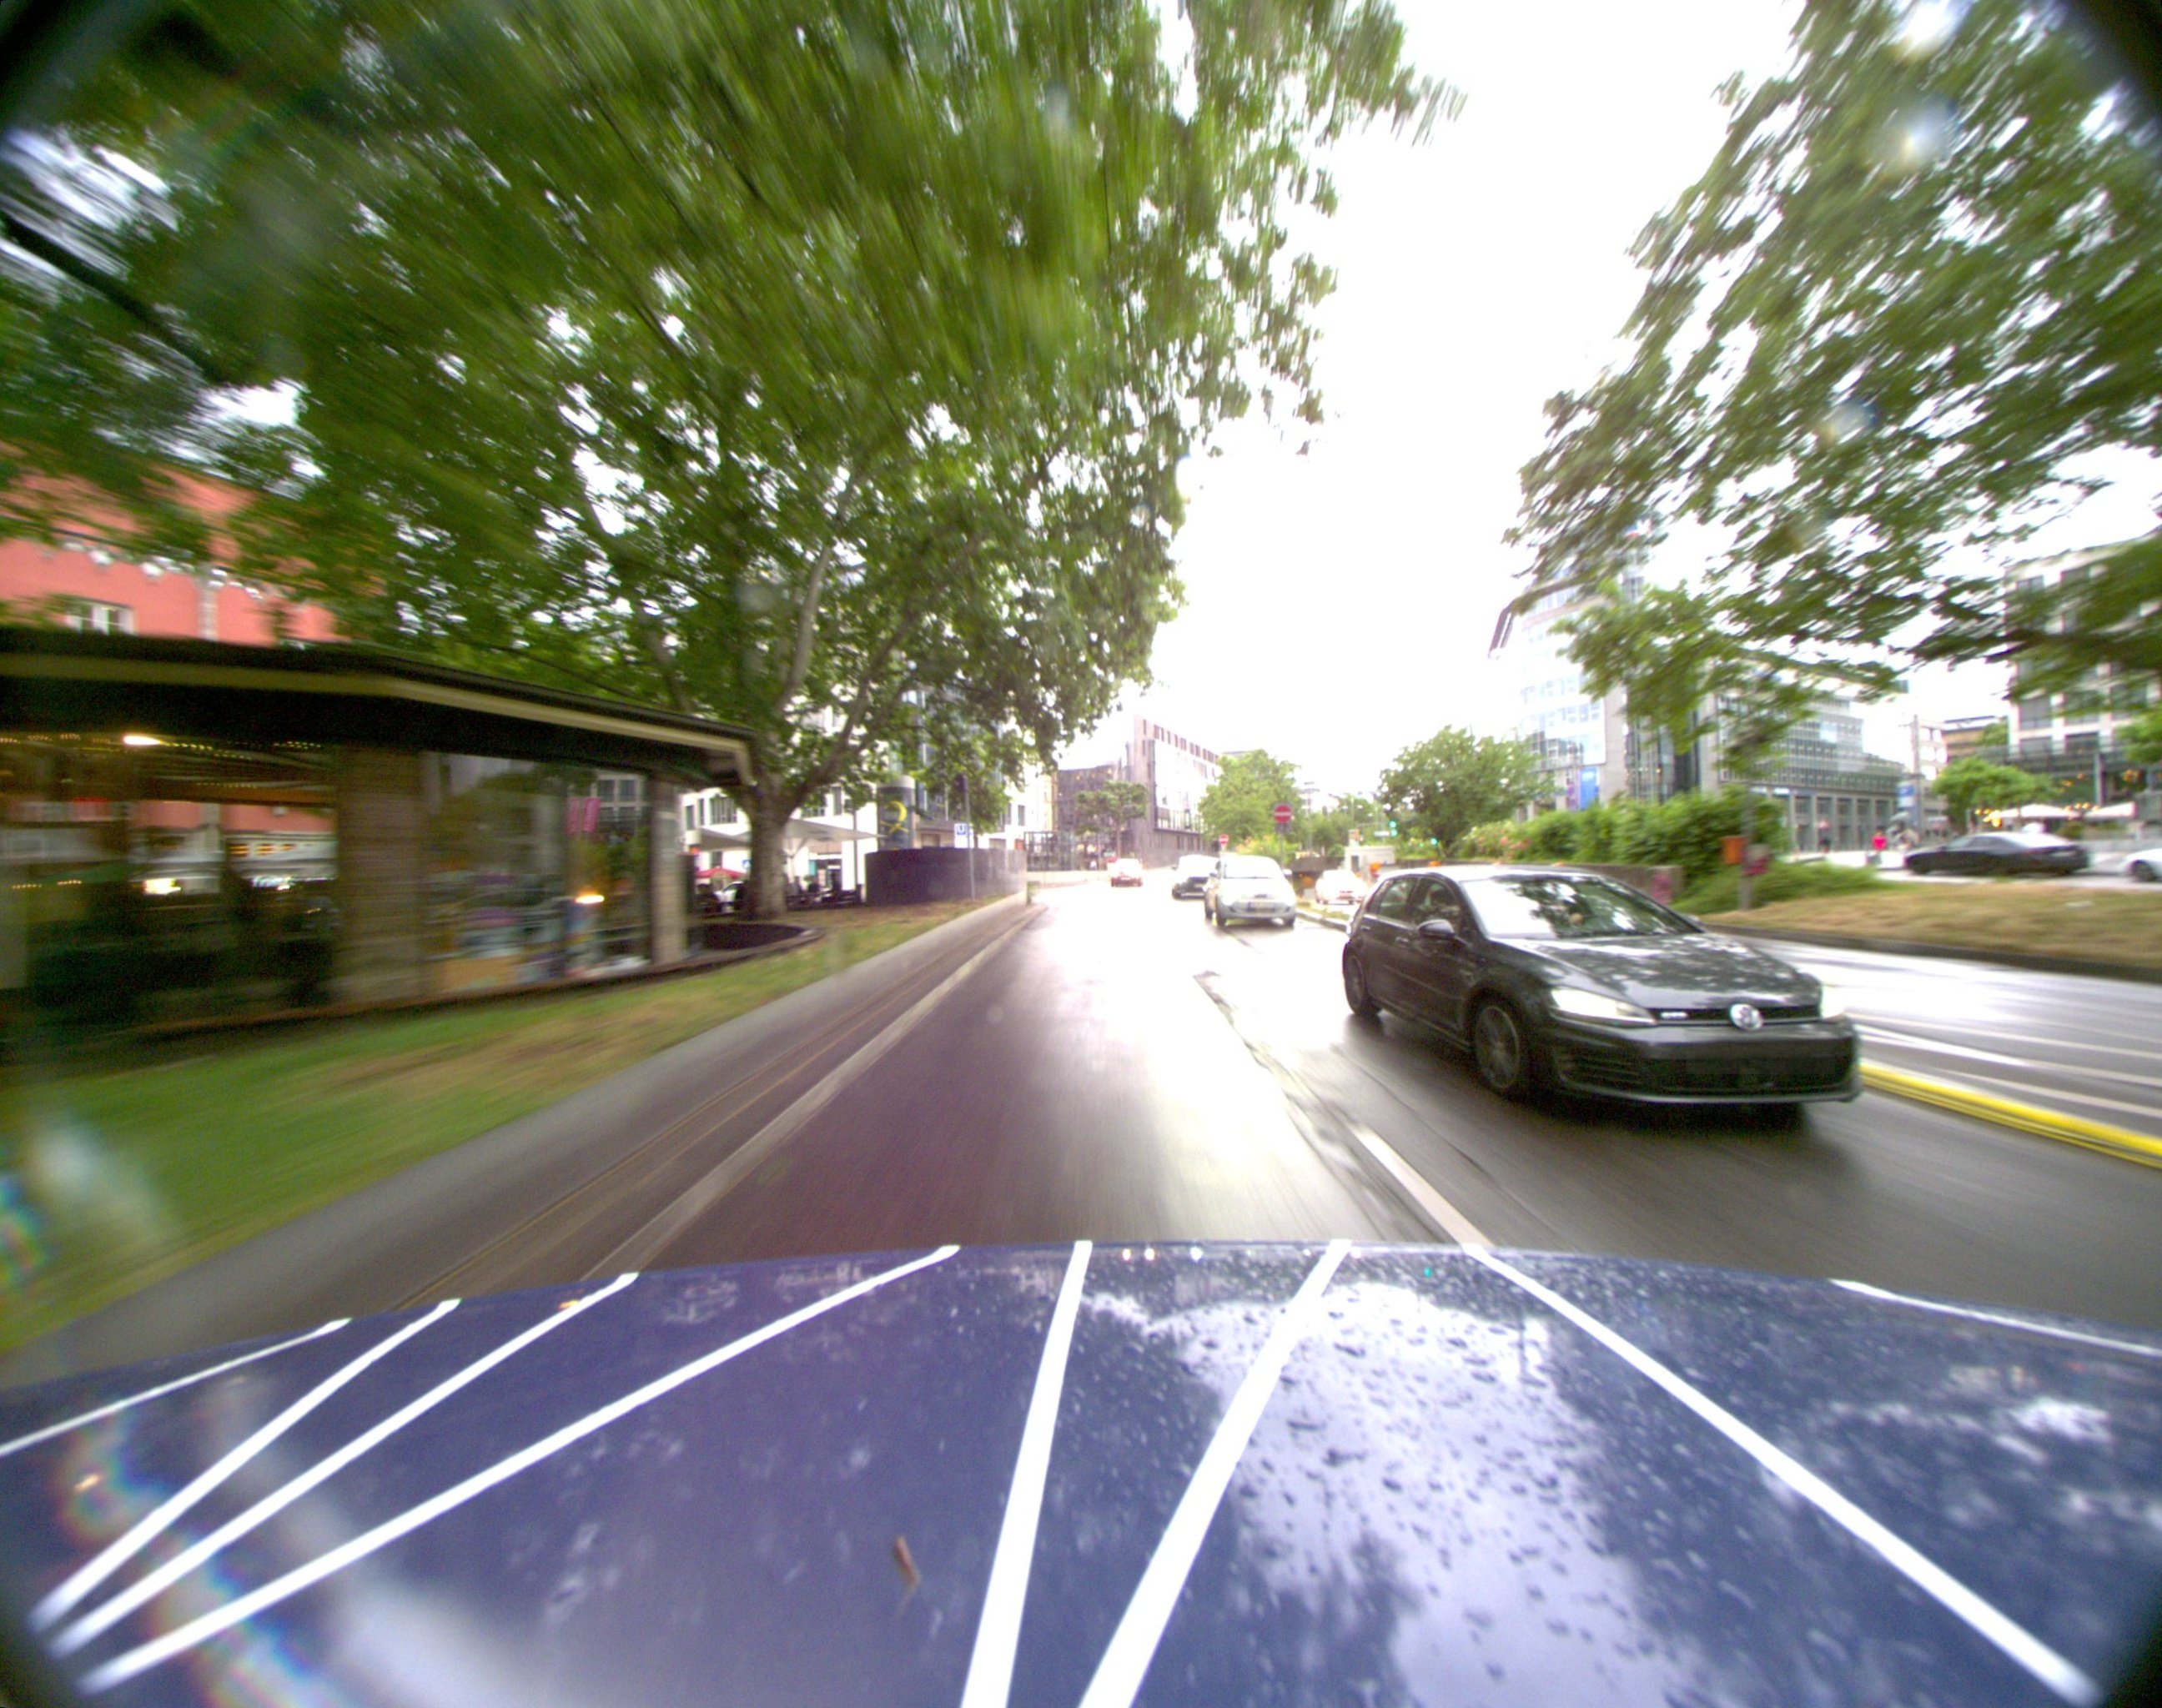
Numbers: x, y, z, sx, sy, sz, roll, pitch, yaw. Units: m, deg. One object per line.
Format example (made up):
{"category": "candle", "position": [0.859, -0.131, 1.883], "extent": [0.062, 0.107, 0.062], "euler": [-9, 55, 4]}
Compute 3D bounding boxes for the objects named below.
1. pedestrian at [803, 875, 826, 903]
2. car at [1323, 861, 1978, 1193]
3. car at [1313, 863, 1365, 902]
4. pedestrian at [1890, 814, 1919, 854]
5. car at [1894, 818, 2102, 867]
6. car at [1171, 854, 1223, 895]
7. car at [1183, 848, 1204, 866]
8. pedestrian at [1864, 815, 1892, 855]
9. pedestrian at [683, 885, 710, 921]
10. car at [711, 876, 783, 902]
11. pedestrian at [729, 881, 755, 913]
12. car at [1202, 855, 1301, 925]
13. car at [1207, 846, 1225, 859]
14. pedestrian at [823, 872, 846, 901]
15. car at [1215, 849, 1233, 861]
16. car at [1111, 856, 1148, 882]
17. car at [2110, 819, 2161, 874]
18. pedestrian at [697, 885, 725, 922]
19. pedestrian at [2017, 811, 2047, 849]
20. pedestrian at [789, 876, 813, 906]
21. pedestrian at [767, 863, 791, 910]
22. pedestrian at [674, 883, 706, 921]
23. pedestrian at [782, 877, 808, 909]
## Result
{"category": "pedestrian", "position": [-8.444, 1.100, 24.072], "extent": [0.575, 0.867, 0.508], "euler": [-2, 1, -29]}
{"category": "car", "position": [3.324, 0.838, 5.624], "extent": [1.789, 1.444, 4.123], "euler": [-3, 0, 2]}
{"category": "car", "position": [12.186, 1.299, 36.079], "extent": [1.780, 1.587, 4.003], "euler": [-2, 1, 11]}
{"category": "pedestrian", "position": [37.823, -0.917, 34.901], "extent": [0.748, 1.779, 0.473], "euler": [-3, 1, 32]}
{"category": "car", "position": [31.982, -0.398, 26.770], "extent": [2.010, 1.525, 4.713], "euler": [-2, 1, 8]}
{"category": "car", "position": [4.333, 0.727, 28.795], "extent": [1.716, 1.433, 3.495], "euler": [-1, 0, 5]}
{"category": "car", "position": [11.656, 0.298, 78.510], "extent": [1.997, 1.733, 3.912], "euler": [-2, 0, 9]}
{"category": "pedestrian", "position": [37.150, -0.880, 35.421], "extent": [0.748, 1.779, 0.424], "euler": [-3, 1, 32]}
{"category": "pedestrian", "position": [-9.838, 1.245, 19.437], "extent": [0.575, 0.867, 0.508], "euler": [-2, 1, -29]}
{"category": "car", "position": [-19.433, 2.017, 44.192], "extent": [3.878, 1.433, 1.655], "euler": [-1, 0, 25]}
{"category": "pedestrian", "position": [-9.604, 1.215, 21.519], "extent": [0.575, 0.867, 0.565], "euler": [-2, 1, -29]}
{"category": "car", "position": [3.822, 0.756, 17.557], "extent": [1.611, 1.433, 3.494], "euler": [-1, 0, 2]}
{"category": "car", "position": [19.656, -0.220, 110.287], "extent": [1.996, 1.733, 3.914], "euler": [-2, 0, 18]}
{"category": "pedestrian", "position": [-7.624, 1.000, 23.485], "extent": [0.575, 0.867, 0.508], "euler": [-2, 1, -29]}
{"category": "car", "position": [22.494, 0.179, 119.454], "extent": [1.995, 1.733, 3.915], "euler": [-2, 0, 22]}
{"category": "car", "position": [2.655, 0.791, 41.064], "extent": [1.715, 1.274, 3.496], "euler": [-2, 0, 8]}
{"category": "car", "position": [31.127, -0.225, 20.126], "extent": [2.010, 1.525, 4.438], "euler": [-2, 1, 8]}
{"category": "pedestrian", "position": [-9.279, 1.239, 19.031], "extent": [0.575, 0.867, 0.508], "euler": [-2, 1, -29]}
{"category": "pedestrian", "position": [41.338, -1.042, 33.026], "extent": [0.578, 1.618, 0.563], "euler": [-2, 1, 8]}
{"category": "pedestrian", "position": [-8.509, 1.114, 23.079], "extent": [0.575, 0.867, 0.508], "euler": [-2, 1, -29]}
{"category": "pedestrian", "position": [-8.352, 0.892, 21.025], "extent": [0.531, 1.269, 0.403], "euler": [-3, 1, -28]}
{"category": "pedestrian", "position": [-9.440, 1.150, 18.328], "extent": [0.627, 0.867, 0.508], "euler": [-2, 1, -30]}
{"category": "pedestrian", "position": [-8.352, 1.121, 22.159], "extent": [0.575, 0.867, 0.741], "euler": [-2, 1, -29]}
